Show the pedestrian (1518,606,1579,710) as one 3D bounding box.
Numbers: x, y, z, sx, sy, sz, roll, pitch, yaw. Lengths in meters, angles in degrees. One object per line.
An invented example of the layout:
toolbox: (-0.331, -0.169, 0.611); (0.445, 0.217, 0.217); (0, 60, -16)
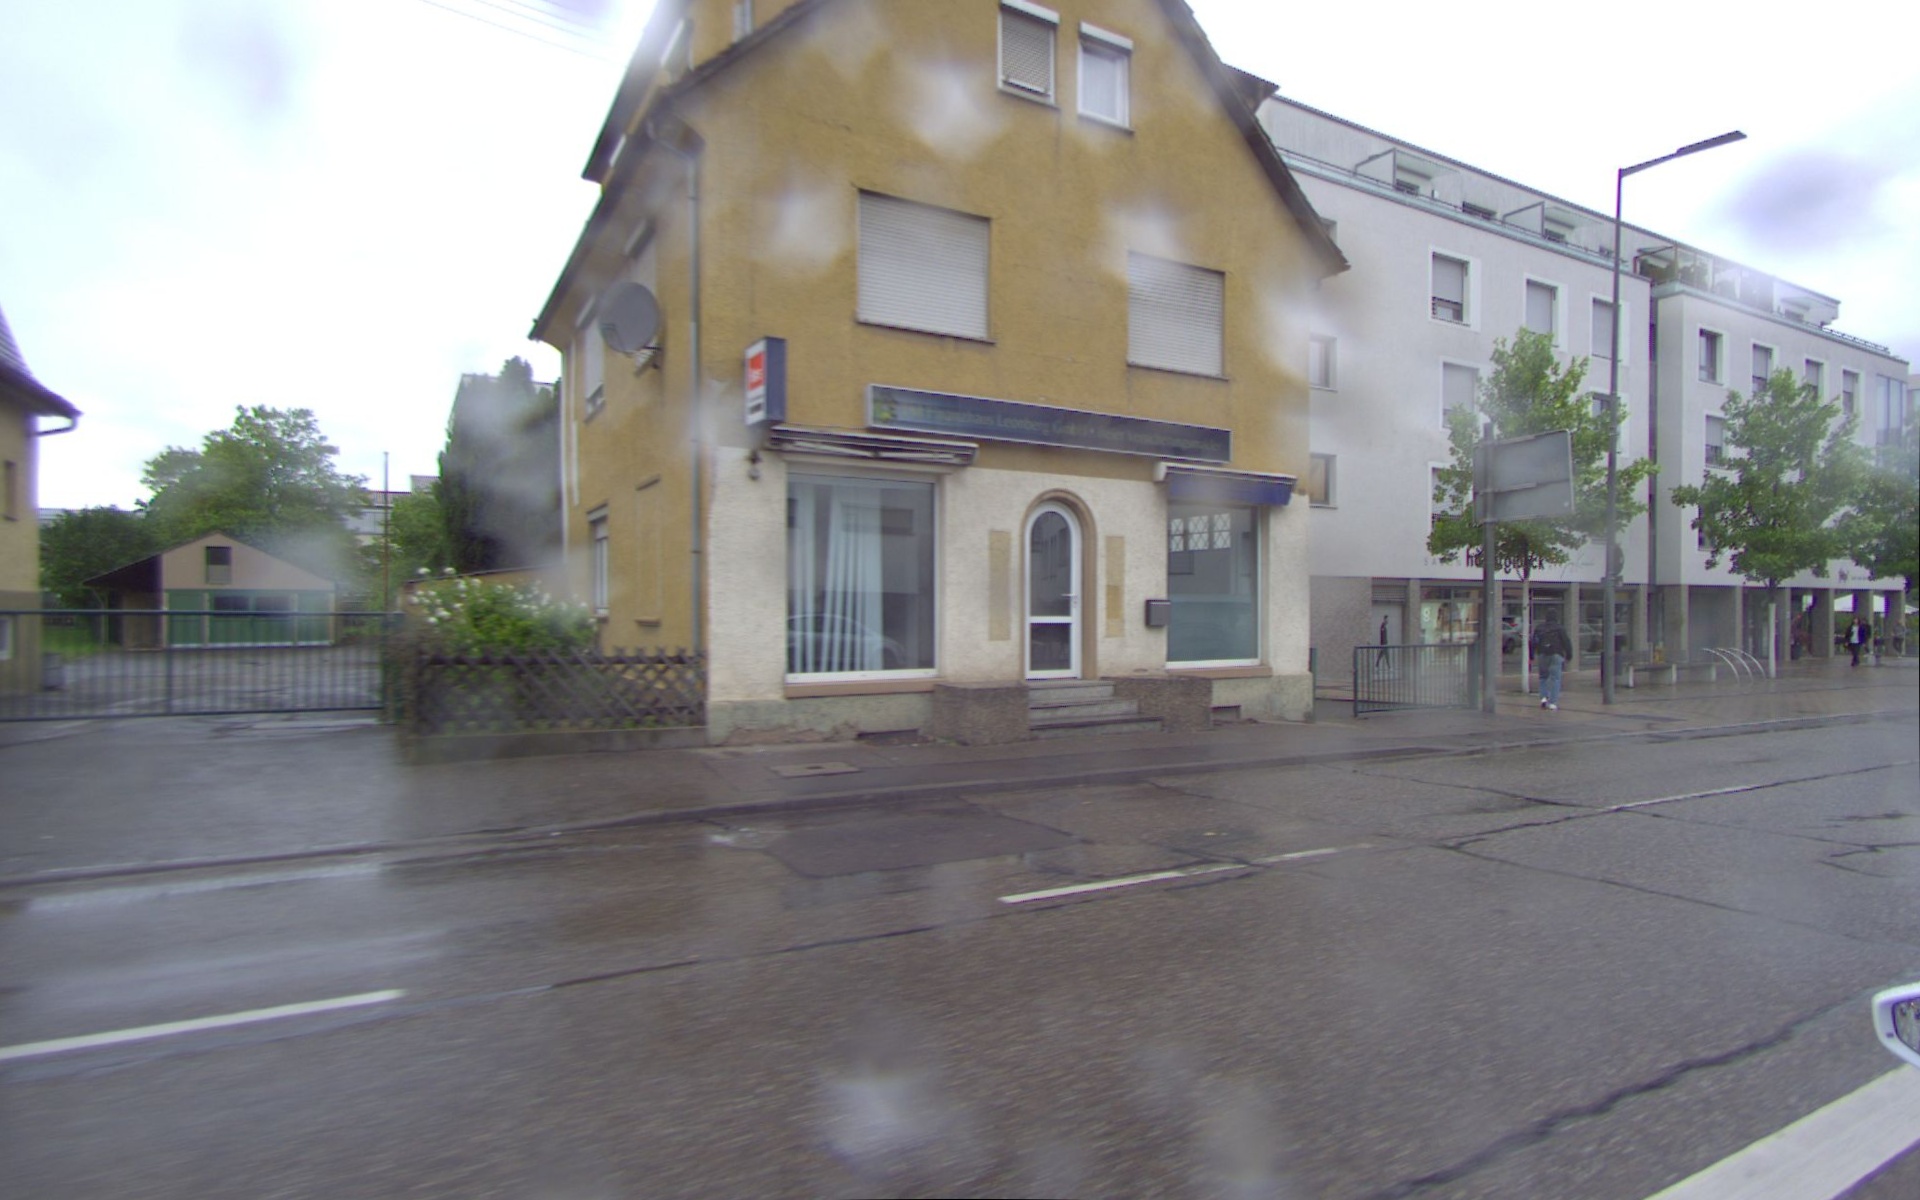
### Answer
pedestrian: (10.665, 1.037, 18.197); (0.792, 1.811, 0.877); (0, -2, 42)

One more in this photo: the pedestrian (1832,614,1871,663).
pedestrian: (33.125, 1.428, 37.320); (0.991, 1.761, 0.805); (2, -2, -30)

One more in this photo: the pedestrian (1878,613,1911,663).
pedestrian: (40.858, 1.653, 43.917); (0.759, 2.173, 0.746); (2, -1, -21)
